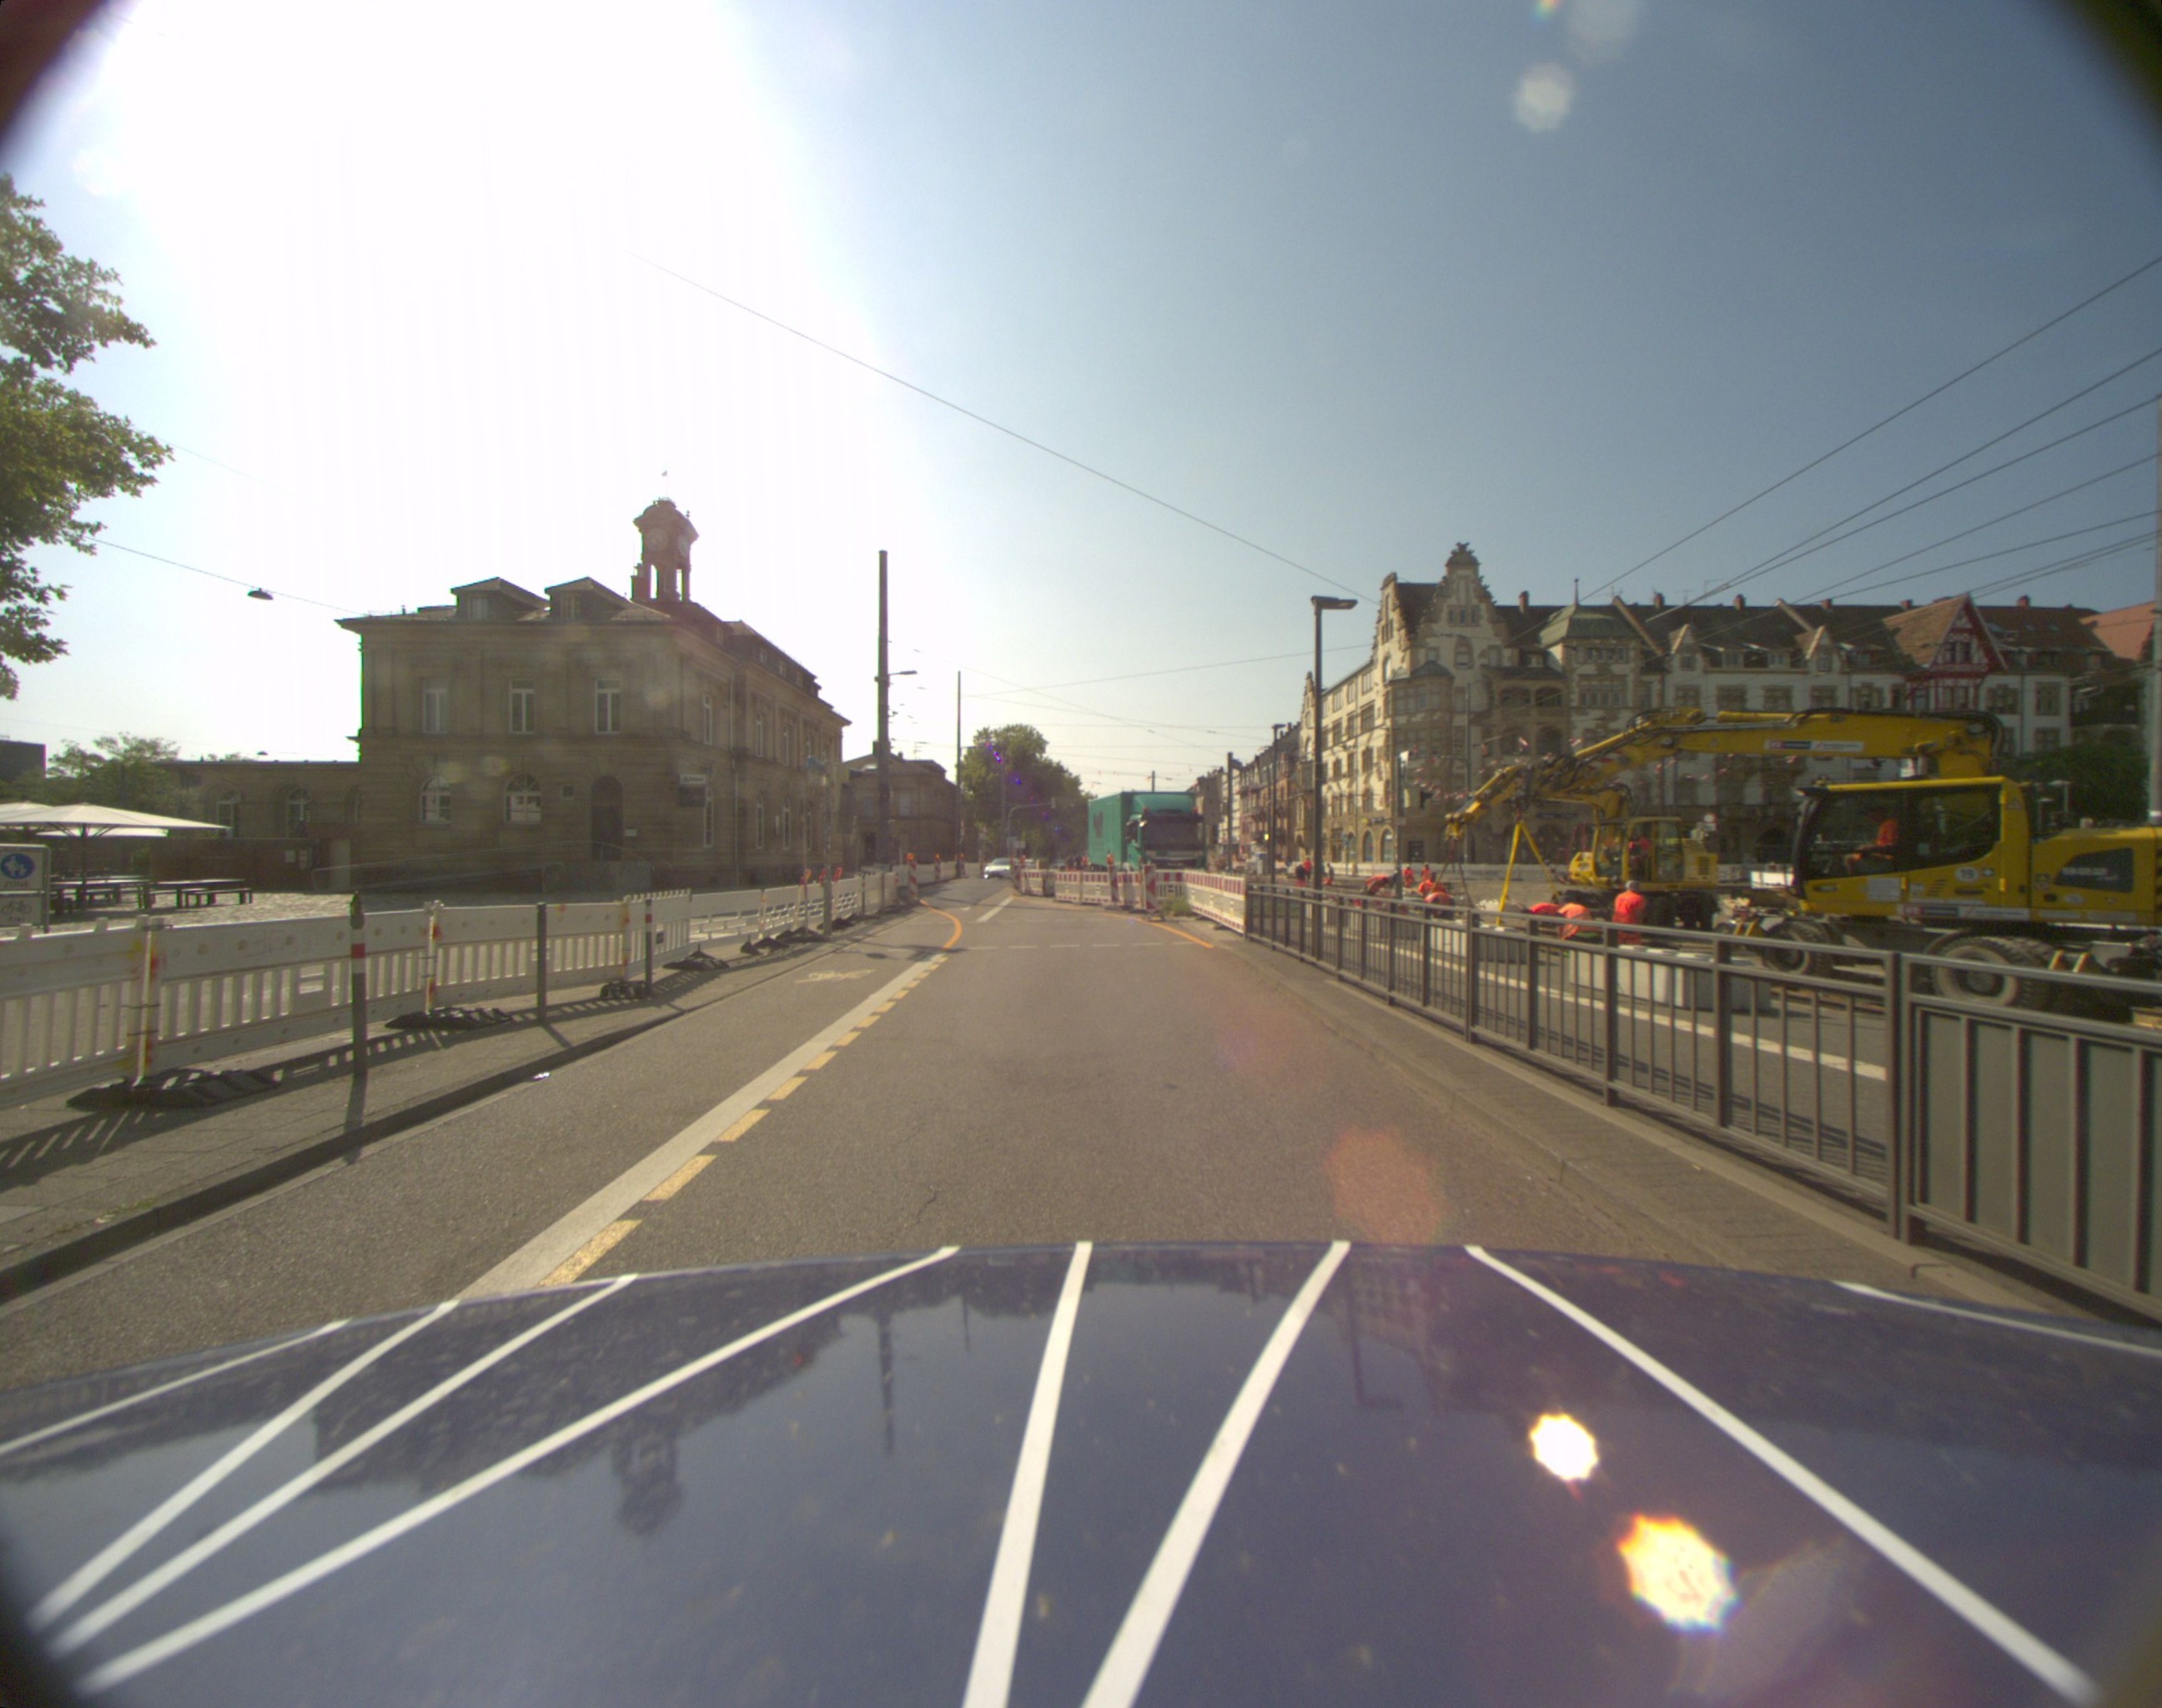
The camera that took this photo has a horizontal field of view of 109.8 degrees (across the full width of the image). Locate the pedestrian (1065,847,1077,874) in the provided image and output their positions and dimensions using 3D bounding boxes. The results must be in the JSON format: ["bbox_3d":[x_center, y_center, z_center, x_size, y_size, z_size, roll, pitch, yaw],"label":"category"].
[{"bbox_3d":[-0.681,0.407,50.441,0.720,1.764,0.465,0,1,-5],"label":"pedestrian"}]

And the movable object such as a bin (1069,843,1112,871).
[{"bbox_3d":[0.844,0.285,70.649,3.174,2.396,2.914,1,2,-16],"label":"movable object such as a bin"}]

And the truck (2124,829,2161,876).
[{"bbox_3d":[72.934,-0.080,49.829,6.353,3.026,2.238,0,0,-3],"label":"truck"}]

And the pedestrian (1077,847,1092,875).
[{"bbox_3d":[0.215,0.484,50.286,0.921,1.830,0.801,0,1,-6],"label":"pedestrian"}]

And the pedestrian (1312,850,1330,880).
[{"bbox_3d":[13.597,0.602,43.039,0.752,1.692,0.678,0,1,-1],"label":"pedestrian"}]

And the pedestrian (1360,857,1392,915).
[{"bbox_3d":[7.575,0.802,19.485,0.741,1.470,0.704,0,0,22],"label":"pedestrian"}]

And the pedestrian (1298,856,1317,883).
[{"bbox_3d":[13.108,0.894,43.988,0.755,1.547,0.735,0,1,-42],"label":"pedestrian"}]

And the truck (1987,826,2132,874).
[{"bbox_3d":[63.744,-0.222,49.567,6.353,3.026,2.630,0,0,-3],"label":"truck"}]

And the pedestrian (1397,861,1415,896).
[{"bbox_3d":[16.030,1.189,37.483,0.739,1.692,0.760,1,1,19],"label":"pedestrian"}]

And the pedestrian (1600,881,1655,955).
[{"bbox_3d":[9.096,1.041,12.647,0.701,1.148,0.589,1,0,40],"label":"pedestrian"}]

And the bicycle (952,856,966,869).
[{"bbox_3d":[-10.190,0.676,63.497,0.743,1.026,2.132,0,0,1],"label":"bicycle"}]

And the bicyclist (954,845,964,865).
[{"bbox_3d":[-10.186,0.104,63.441,0.736,1.616,0.853,0,1,1],"label":"bicyclist"}]

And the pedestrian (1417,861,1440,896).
[{"bbox_3d":[16.993,1.199,37.148,0.741,1.692,0.758,0,1,-1],"label":"pedestrian"}]

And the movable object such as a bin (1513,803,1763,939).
[{"bbox_3d":[14.651,0.420,20.251,4.128,3.204,3.563,0,0,-15],"label":"movable object such as a bin"}]

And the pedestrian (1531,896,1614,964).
[{"bbox_3d":[7.530,1.150,11.680,0.702,0.949,0.882,0,0,1],"label":"pedestrian"}]

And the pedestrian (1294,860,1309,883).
[{"bbox_3d":[11.919,0.934,41.078,0.678,1.239,0.547,0,1,-1],"label":"pedestrian"}]

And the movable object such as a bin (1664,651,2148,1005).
[{"bbox_3d":[12.212,-0.329,11.881,2.994,4.527,4.212,0,0,2],"label":"movable object such as a bin"}]

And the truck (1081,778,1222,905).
[{"bbox_3d":[2.133,-0.340,27.343,2.817,3.766,9.007,1,0,-9],"label":"truck"}]

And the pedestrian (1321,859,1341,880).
[{"bbox_3d":[14.455,0.897,43.934,0.732,1.177,0.866,3,2,-7],"label":"pedestrian"}]

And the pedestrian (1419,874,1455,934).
[{"bbox_3d":[8.299,1.146,17.747,0.701,1.327,0.838,0,0,21],"label":"pedestrian"}]

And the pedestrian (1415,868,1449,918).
[{"bbox_3d":[8.626,0.945,18.707,0.701,1.171,0.703,0,0,21],"label":"pedestrian"}]

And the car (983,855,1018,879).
[{"bbox_3d":[-5.370,0.842,51.261,1.844,1.451,4.000,2,0,1],"label":"car"}]
